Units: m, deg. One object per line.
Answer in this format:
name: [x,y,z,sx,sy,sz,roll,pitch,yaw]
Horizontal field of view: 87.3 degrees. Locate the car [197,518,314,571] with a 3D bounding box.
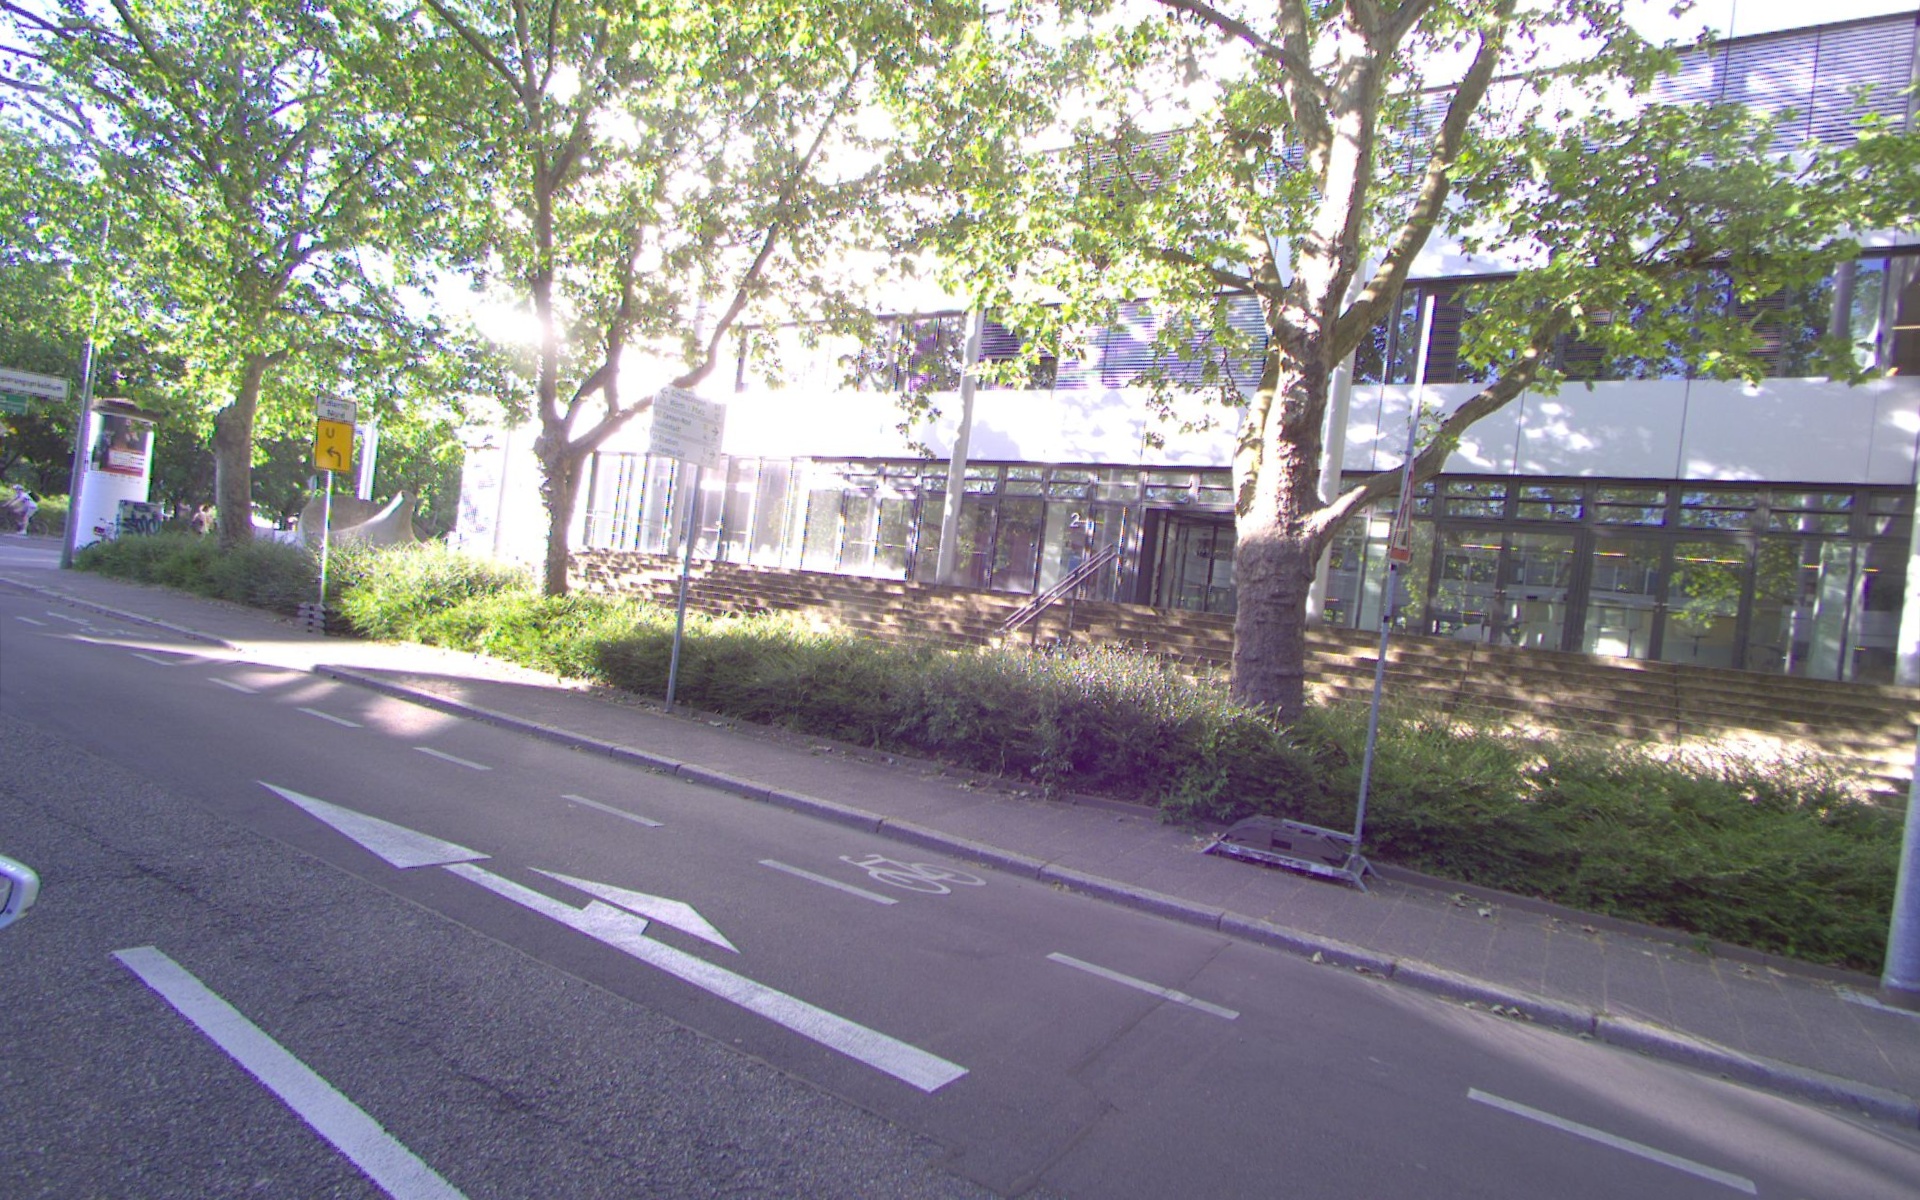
car: [-32.705,-2.558,46.820,1.708,1.792,3.996,7,-1,30]

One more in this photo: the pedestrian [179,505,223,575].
pedestrian: [-21.450,-1.693,28.435,0.656,1.849,0.648,7,0,31]

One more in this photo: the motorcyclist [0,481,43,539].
motorcyclist: [-33.470,-3.205,35.849,0.370,1.899,0.983,6,-1,36]

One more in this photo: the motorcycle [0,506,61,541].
motorcycle: [-33.439,-2.747,36.018,0.409,1.014,1.720,7,-1,36]

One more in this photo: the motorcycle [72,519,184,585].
motorcycle: [-19.230,-1.093,23.278,0.712,1.257,1.782,6,-2,37]
